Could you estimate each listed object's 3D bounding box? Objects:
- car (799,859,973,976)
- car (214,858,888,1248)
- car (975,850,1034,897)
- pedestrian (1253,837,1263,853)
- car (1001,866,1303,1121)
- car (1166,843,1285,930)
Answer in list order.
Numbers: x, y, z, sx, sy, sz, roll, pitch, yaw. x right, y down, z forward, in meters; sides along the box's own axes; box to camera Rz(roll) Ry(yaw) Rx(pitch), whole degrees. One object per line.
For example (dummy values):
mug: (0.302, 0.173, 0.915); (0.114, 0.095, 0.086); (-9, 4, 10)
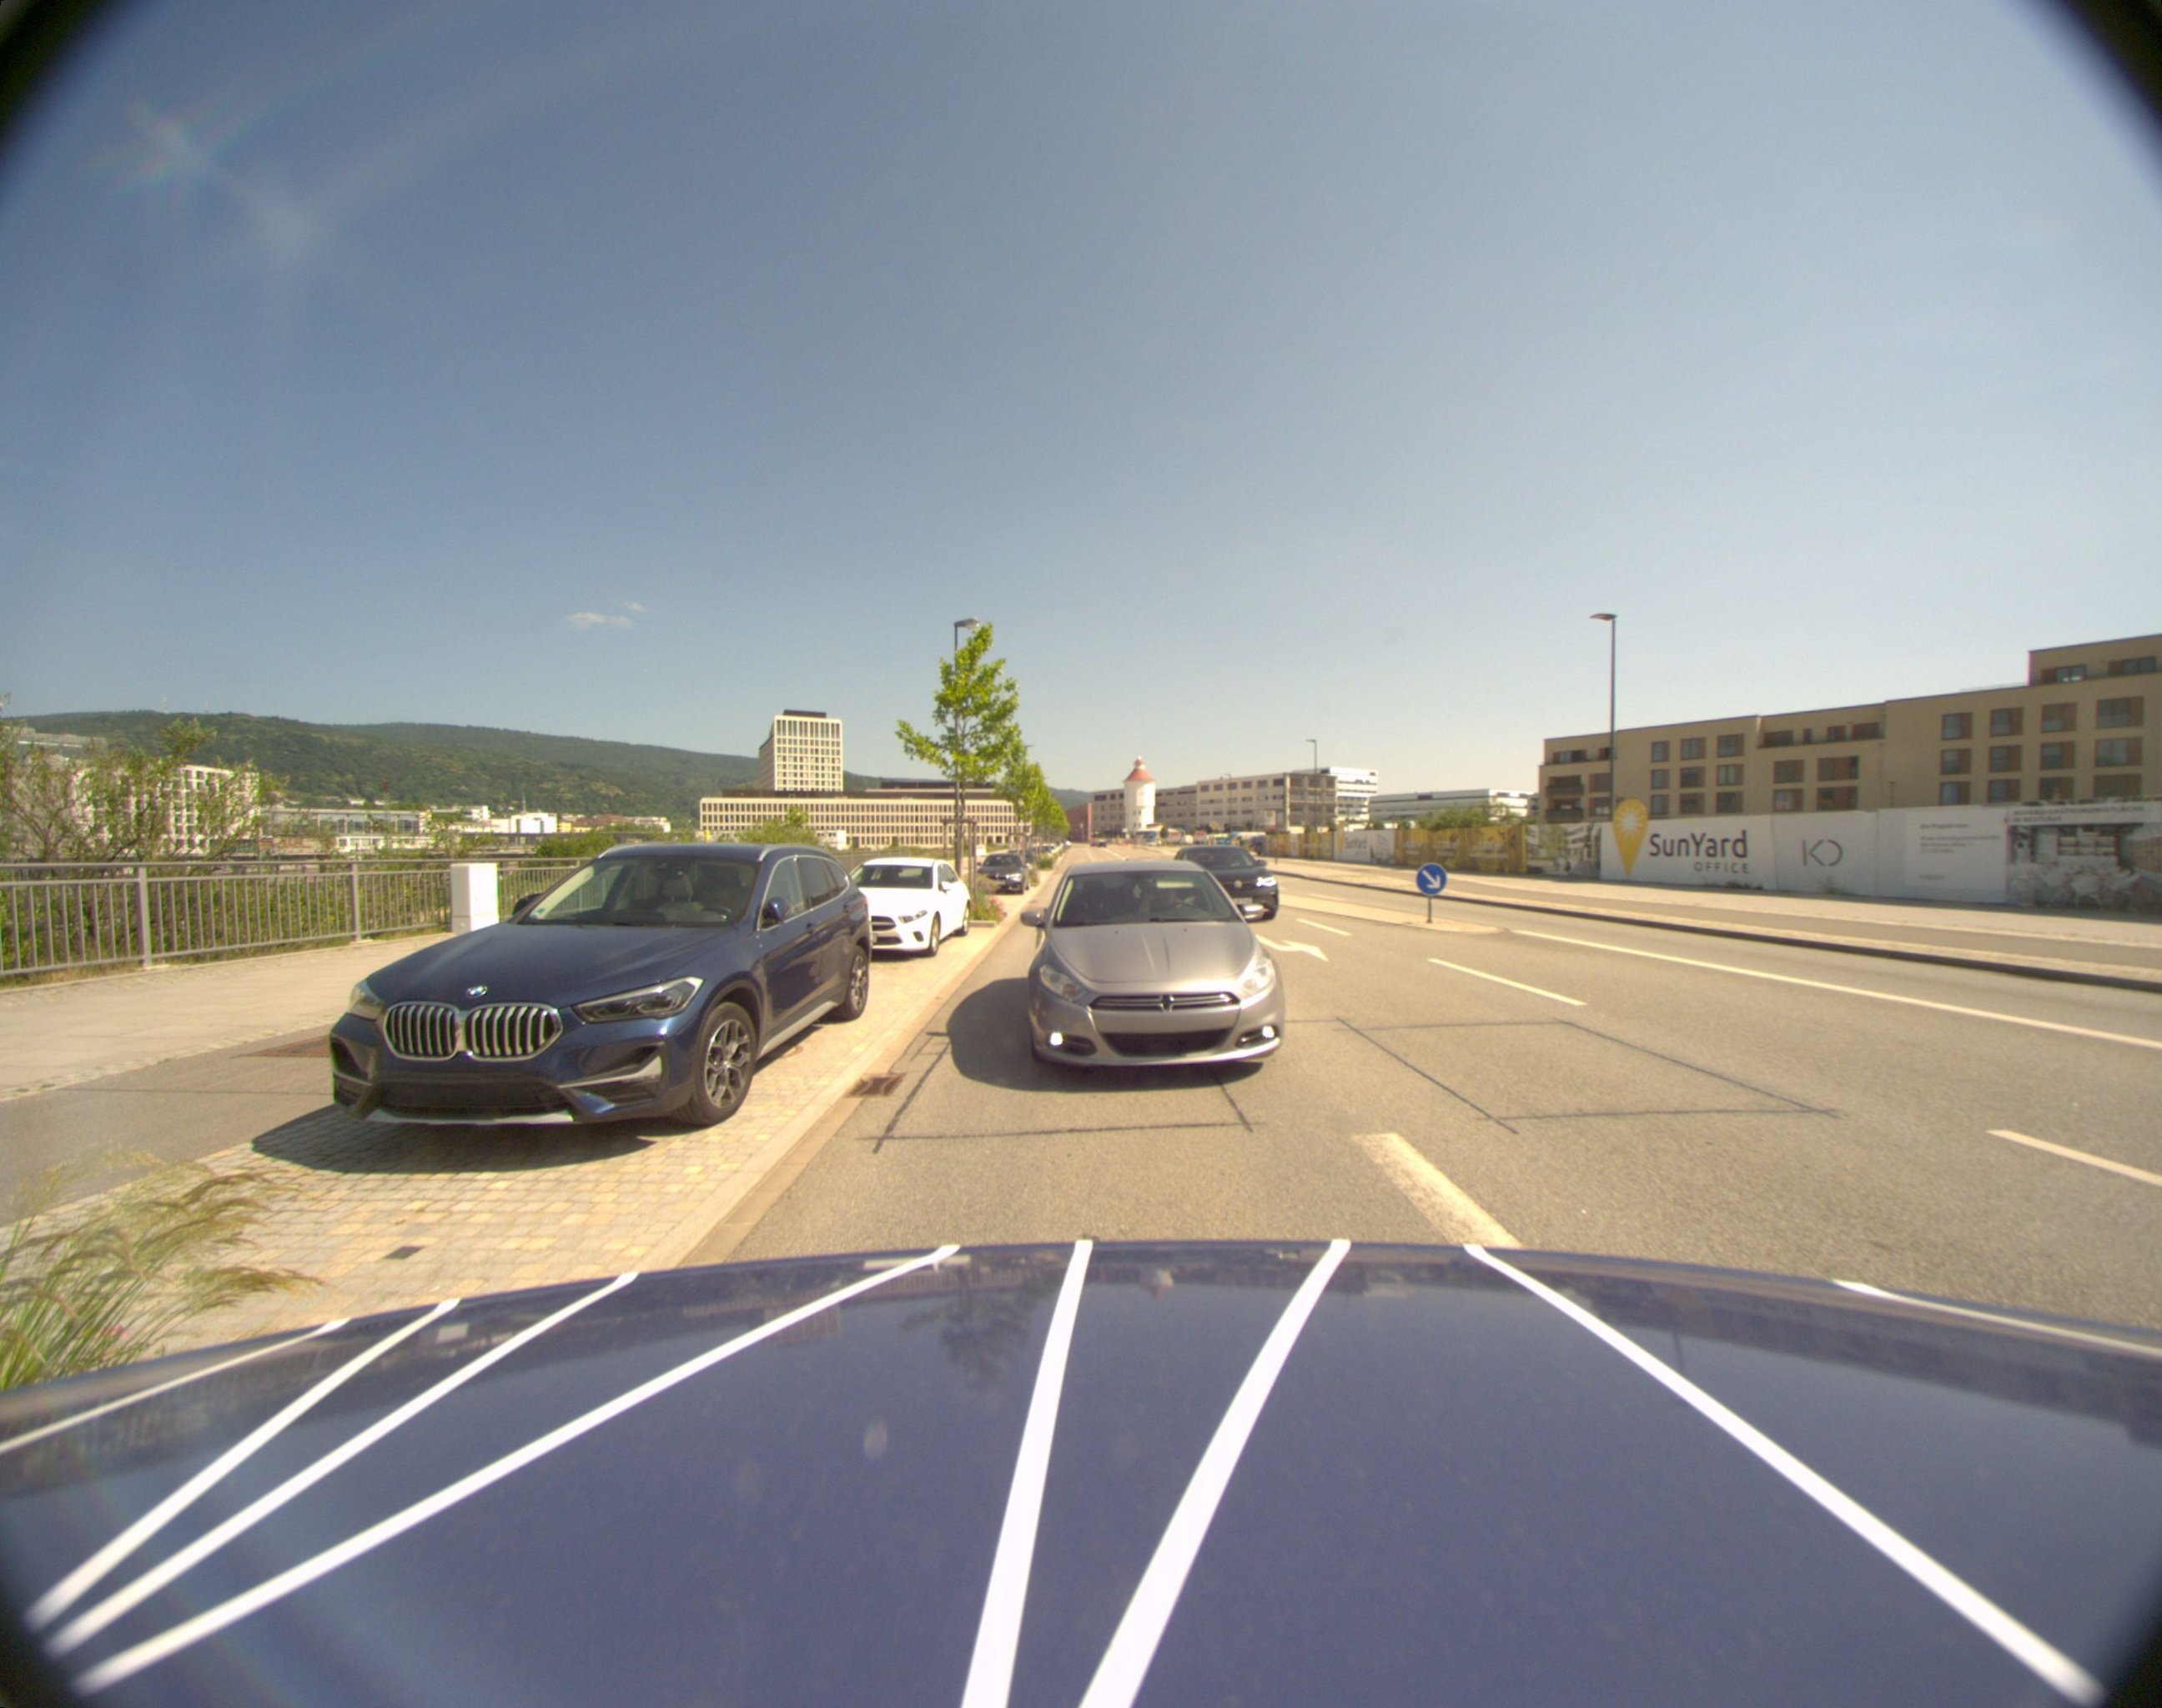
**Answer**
car: (-2.918, 0.877, 12.255); (1.664, 1.447, 3.999); (-2, 1, 1)
car: (-2.869, 0.896, 5.469); (1.769, 1.598, 4.238); (-2, 1, 1)
car: (-2.738, 0.654, 28.065); (1.664, 1.529, 3.999); (-2, 1, 1)
pedestrian: (18.145, -0.941, 77.813); (0.705, 1.577, 0.617); (-3, 1, -36)
car: (0.458, 0.885, 6.684); (1.784, 1.372, 4.135); (-2, 1, 1)
car: (3.050, 0.611, 16.930); (1.806, 1.632, 4.365); (-2, 1, 1)
